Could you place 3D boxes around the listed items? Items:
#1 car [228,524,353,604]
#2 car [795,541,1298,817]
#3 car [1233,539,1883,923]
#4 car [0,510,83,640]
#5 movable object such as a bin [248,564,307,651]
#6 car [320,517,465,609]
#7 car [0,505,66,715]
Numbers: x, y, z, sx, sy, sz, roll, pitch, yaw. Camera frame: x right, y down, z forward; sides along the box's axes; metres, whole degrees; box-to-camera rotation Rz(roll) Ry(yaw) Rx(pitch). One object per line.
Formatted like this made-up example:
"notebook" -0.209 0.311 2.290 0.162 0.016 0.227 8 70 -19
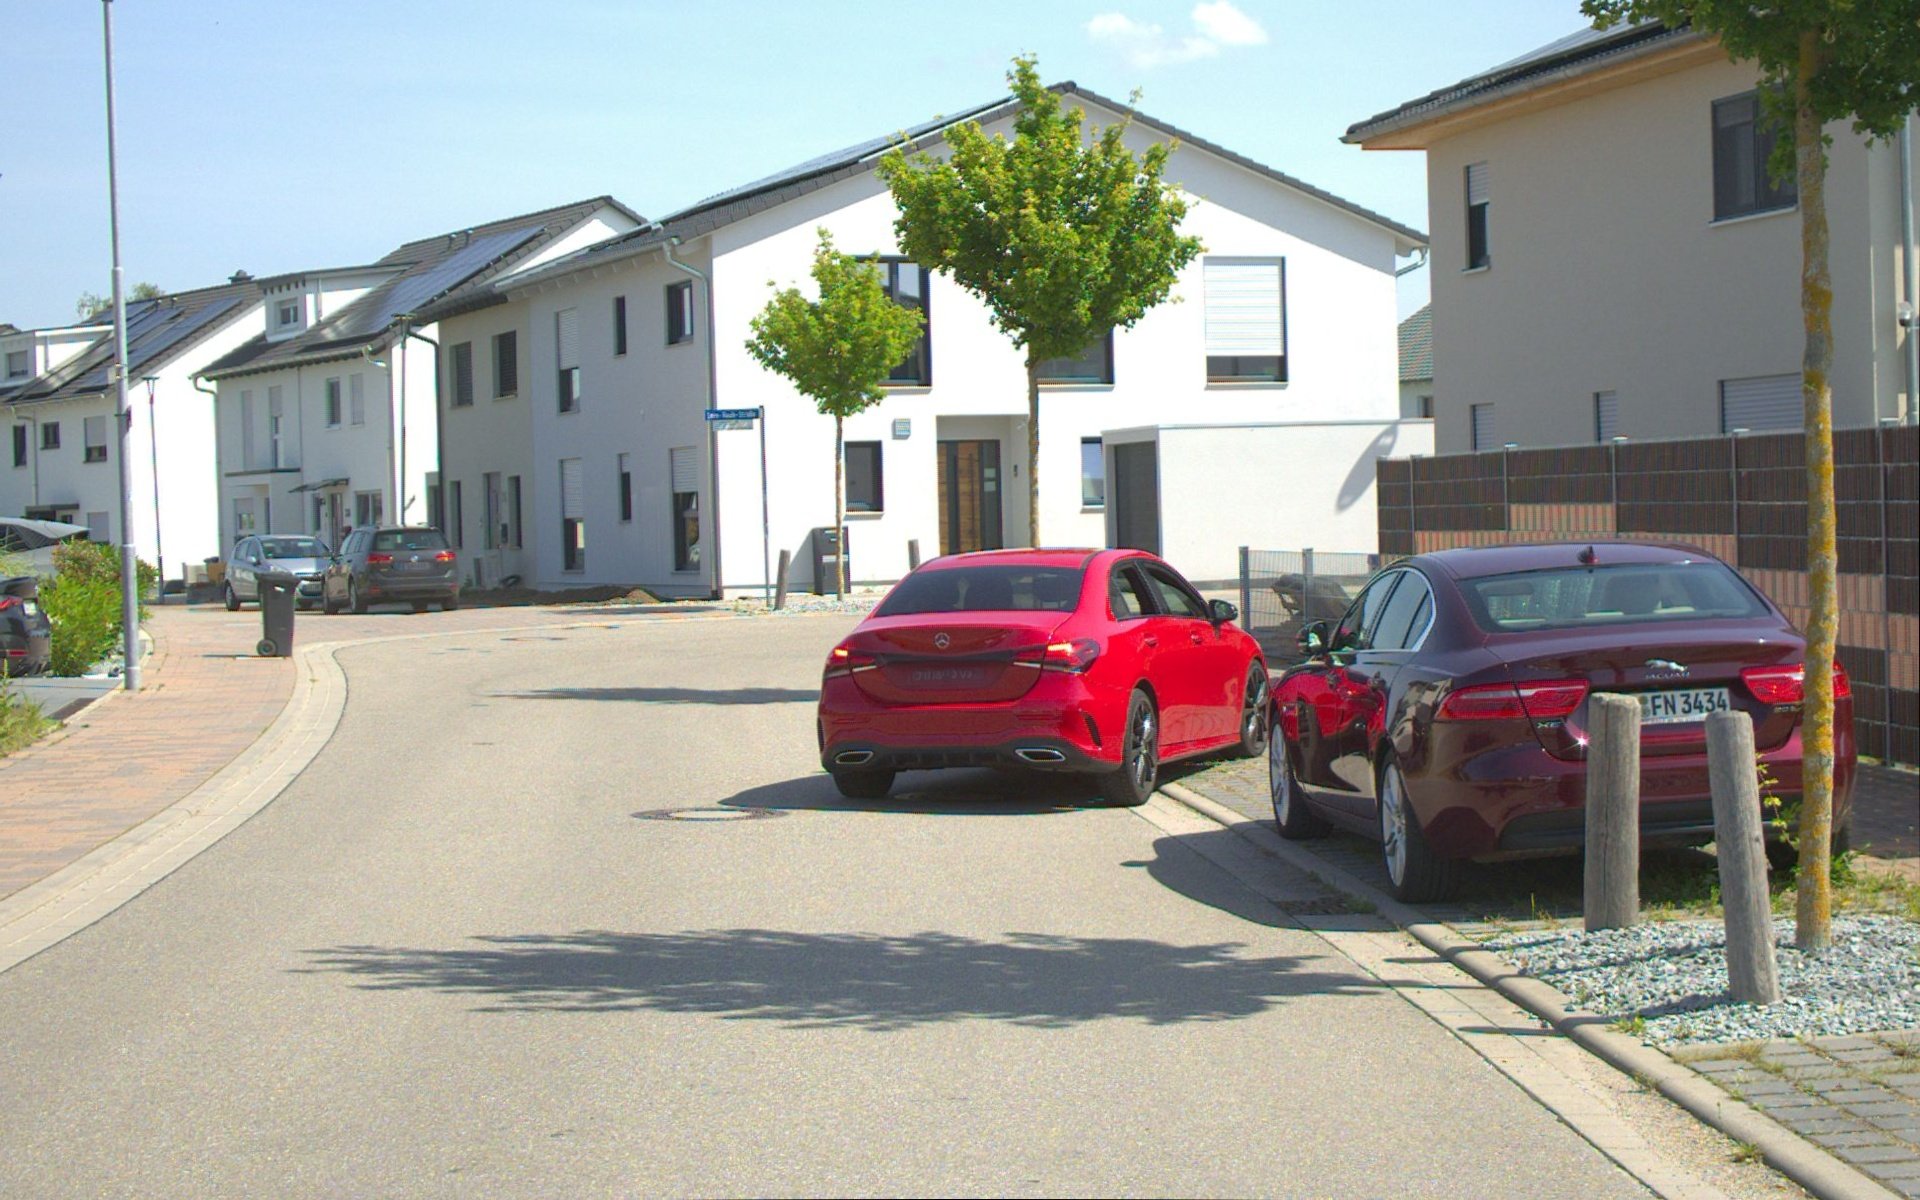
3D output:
"car" -13.064 -0.717 66.918 1.676 1.459 3.945 -2 2 -21
"car" 0.659 0.377 20.679 1.764 1.433 4.515 0 1 19
"car" 2.439 0.450 15.222 1.754 1.358 4.576 -2 2 -4
"car" -12.435 -0.287 40.161 3.986 1.481 1.755 -1 1 -5
"movable object such as a bin" -7.504 0.079 37.807 0.534 0.932 0.526 1 1 2
"car" -9.524 -0.630 57.511 1.726 1.418 4.001 -2 2 -19
"car" -9.474 0.020 27.309 4.374 1.626 1.771 1 1 -7
